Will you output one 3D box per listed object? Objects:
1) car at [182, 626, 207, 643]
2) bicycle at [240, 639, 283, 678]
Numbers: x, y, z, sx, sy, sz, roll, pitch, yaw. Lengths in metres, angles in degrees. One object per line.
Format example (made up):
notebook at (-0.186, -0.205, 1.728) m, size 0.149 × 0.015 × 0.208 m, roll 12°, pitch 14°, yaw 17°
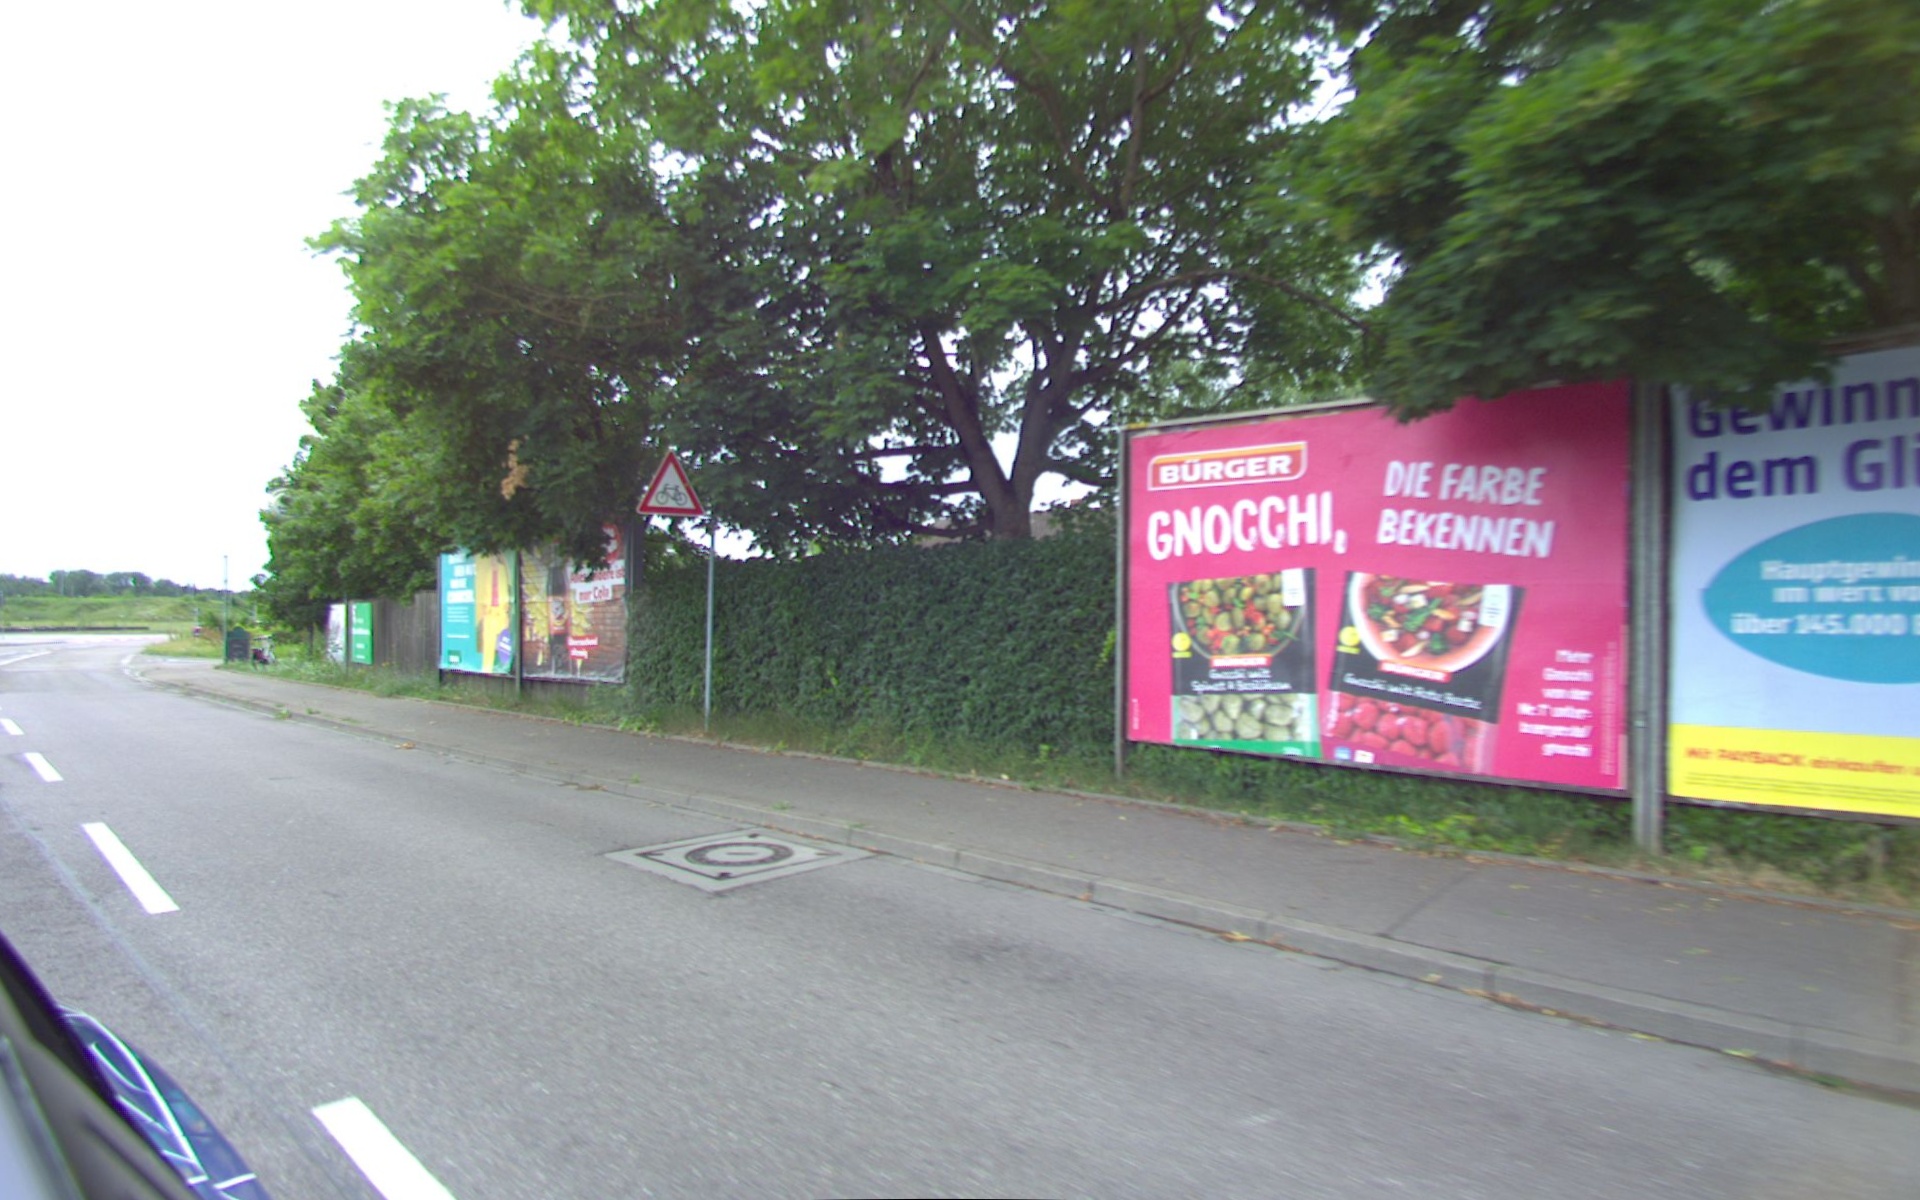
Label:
car at (-66.566, 2.985, 87.994) m, size 1.716 × 1.464 × 4.008 m, roll 2°, pitch -2°, yaw -38°
bicycle at (-19.819, 1.643, 28.739) m, size 0.574 × 1.006 × 1.776 m, roll -2°, pitch 0°, yaw -21°
